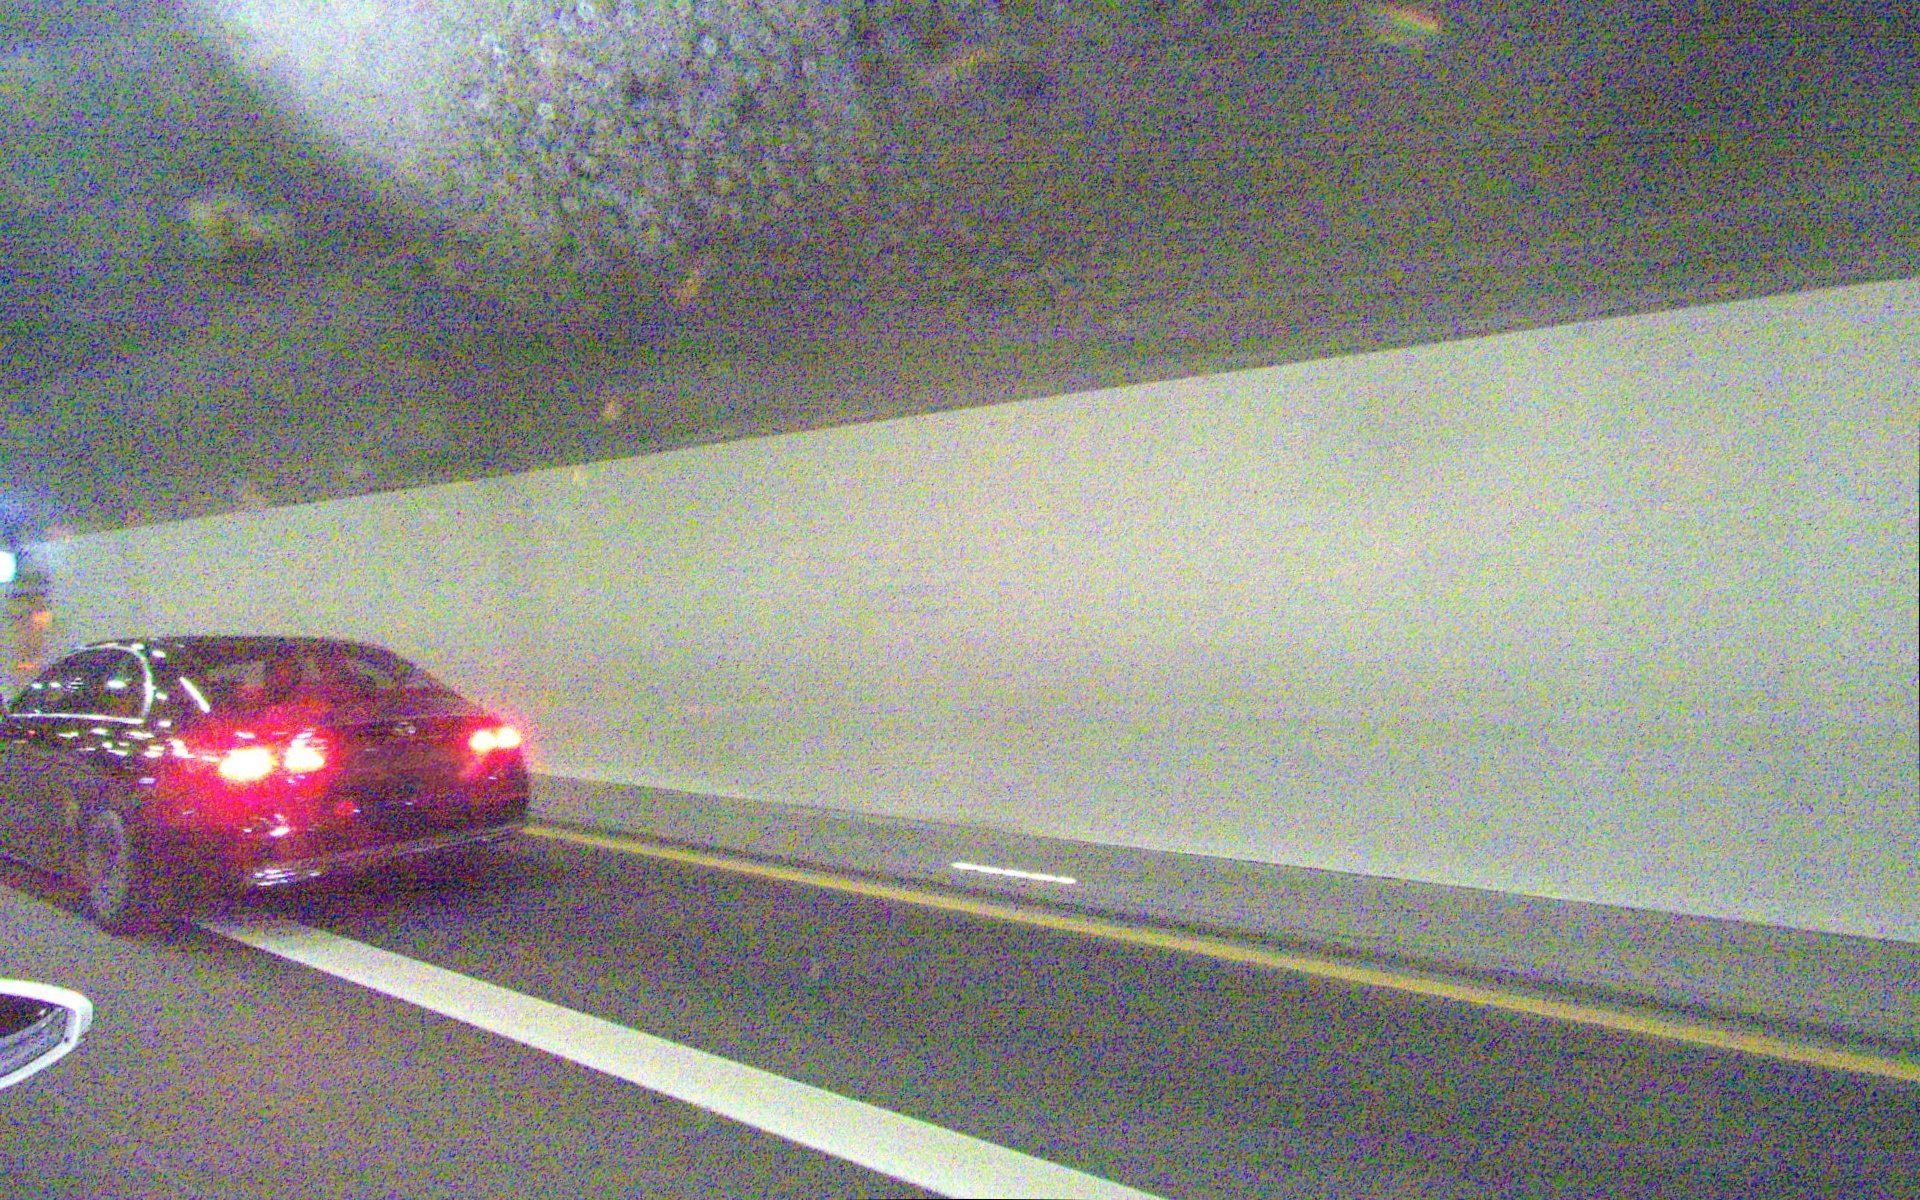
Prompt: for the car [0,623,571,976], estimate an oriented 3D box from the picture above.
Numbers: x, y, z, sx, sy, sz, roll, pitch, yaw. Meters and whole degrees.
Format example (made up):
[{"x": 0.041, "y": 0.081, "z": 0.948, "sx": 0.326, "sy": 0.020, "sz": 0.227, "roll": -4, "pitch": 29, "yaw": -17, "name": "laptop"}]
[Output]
[{"x": -4.856, "y": 0.932, "z": 6.383, "sx": 4.884, "sy": 1.491, "sz": 1.923, "roll": -1, "pitch": -3, "yaw": 33, "name": "car"}]
